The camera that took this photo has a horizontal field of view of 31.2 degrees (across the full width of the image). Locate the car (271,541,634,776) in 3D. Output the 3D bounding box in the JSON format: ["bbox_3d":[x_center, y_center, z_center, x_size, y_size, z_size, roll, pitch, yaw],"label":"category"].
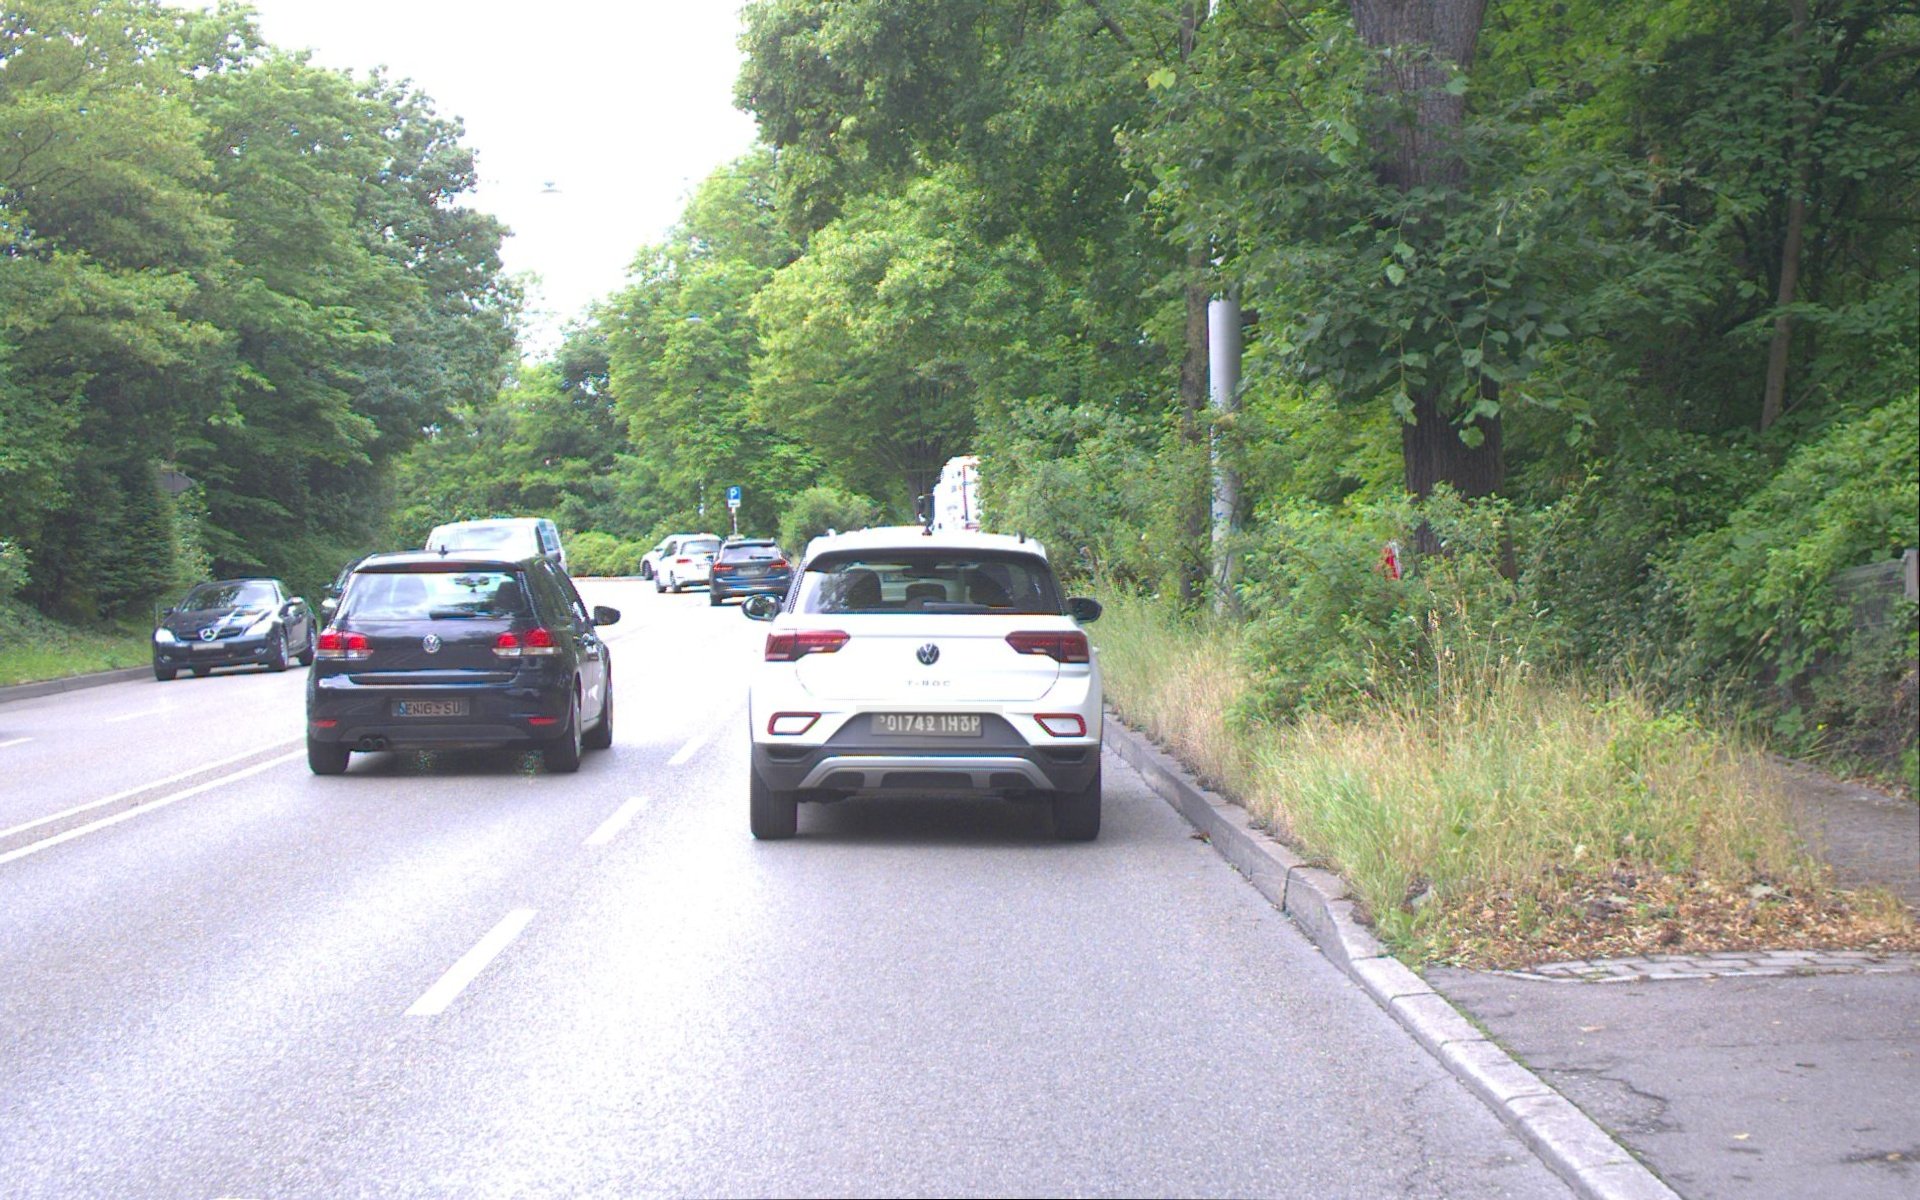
[{"bbox_3d":[-3.358,0.336,23.449,1.949,1.461,4.000,0,1,-1],"label":"car"}]

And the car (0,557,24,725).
[{"bbox_3d":[-9.380,0.431,28.640,1.913,1.463,4.530,-2,1,-1],"label":"car"}]

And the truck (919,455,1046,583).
[{"bbox_3d":[0.517,-2.086,89.836,2.481,3.171,7.230,0,1,-6],"label":"truck"}]

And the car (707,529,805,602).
[{"bbox_3d":[-4.514,-0.778,76.519,1.993,1.586,4.000,0,1,-1],"label":"car"}]

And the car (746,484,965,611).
[{"bbox_3d":[-1.587,-0.787,50.820,1.851,1.697,4.001,-4,3,-22],"label":"car"}]

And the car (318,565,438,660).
[{"bbox_3d":[-10.158,0.184,60.227,1.475,1.590,4.000,0,1,-1],"label":"car"}]

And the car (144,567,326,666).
[{"bbox_3d":[-10.005,0.201,47.679,1.767,1.305,4.000,0,1,-1],"label":"car"}]

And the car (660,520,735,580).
[{"bbox_3d":[-7.189,-1.374,94.578,1.821,1.617,4.000,0,1,-1],"label":"car"}]

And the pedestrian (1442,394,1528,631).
[{"bbox_3d":[3.914,-0.649,25.643,0.519,1.747,0.525,0,1,-4],"label":"pedestrian"}]

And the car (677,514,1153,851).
[{"bbox_3d":[-0.367,0.362,18.345,2.000,1.590,4.001,0,1,-9],"label":"car"}]

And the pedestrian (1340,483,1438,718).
[{"bbox_3d":[3.128,0.000,25.108,0.608,1.692,0.549,0,1,-4],"label":"pedestrian"}]

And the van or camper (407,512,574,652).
[{"bbox_3d":[-7.089,-0.300,52.409,1.993,2.007,5.369,-1,1,-2],"label":"van or camper"}]
